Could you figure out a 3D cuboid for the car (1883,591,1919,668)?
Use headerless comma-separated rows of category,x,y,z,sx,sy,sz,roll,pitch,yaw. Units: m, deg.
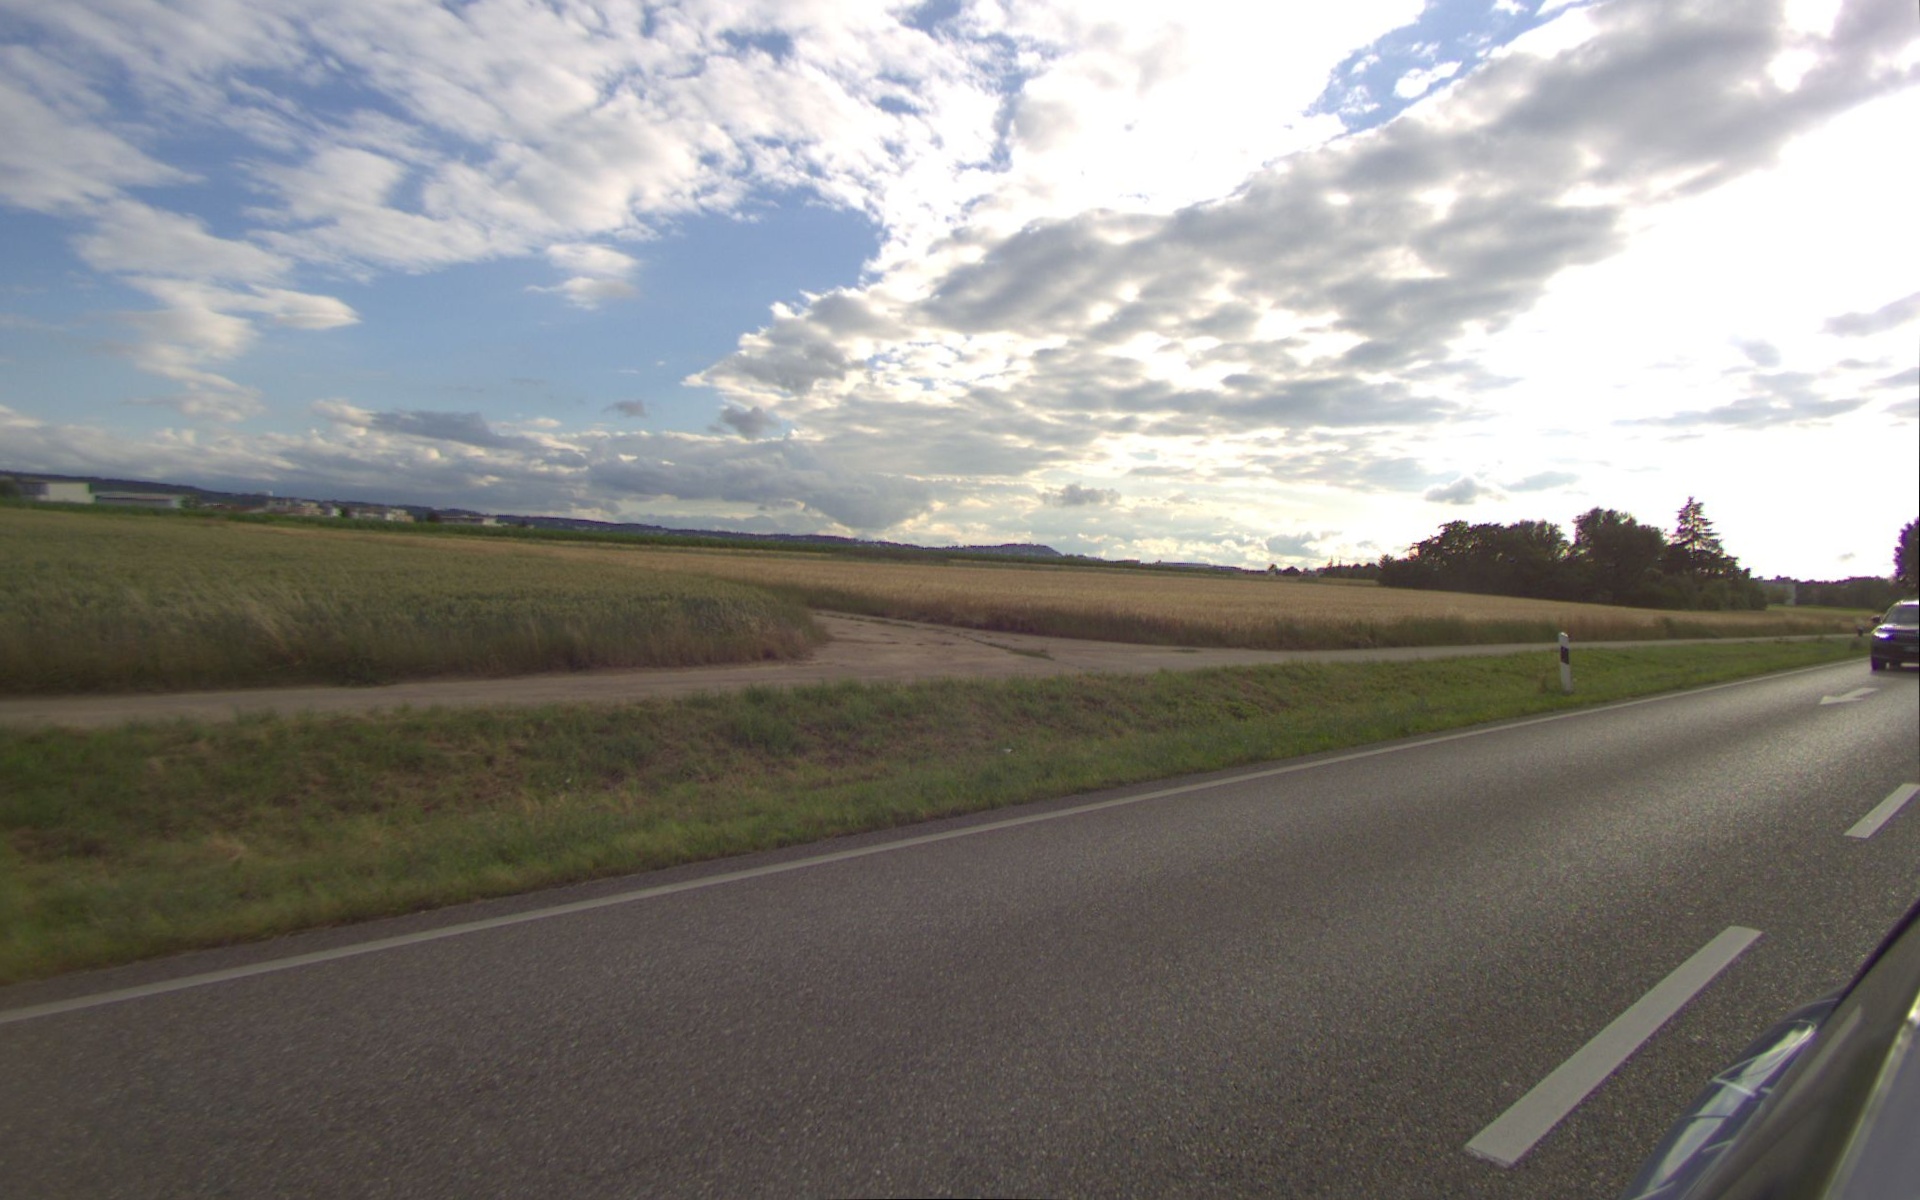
car,23.772,0.656,24.307,4.477,1.730,1.840,-1,0,-41
